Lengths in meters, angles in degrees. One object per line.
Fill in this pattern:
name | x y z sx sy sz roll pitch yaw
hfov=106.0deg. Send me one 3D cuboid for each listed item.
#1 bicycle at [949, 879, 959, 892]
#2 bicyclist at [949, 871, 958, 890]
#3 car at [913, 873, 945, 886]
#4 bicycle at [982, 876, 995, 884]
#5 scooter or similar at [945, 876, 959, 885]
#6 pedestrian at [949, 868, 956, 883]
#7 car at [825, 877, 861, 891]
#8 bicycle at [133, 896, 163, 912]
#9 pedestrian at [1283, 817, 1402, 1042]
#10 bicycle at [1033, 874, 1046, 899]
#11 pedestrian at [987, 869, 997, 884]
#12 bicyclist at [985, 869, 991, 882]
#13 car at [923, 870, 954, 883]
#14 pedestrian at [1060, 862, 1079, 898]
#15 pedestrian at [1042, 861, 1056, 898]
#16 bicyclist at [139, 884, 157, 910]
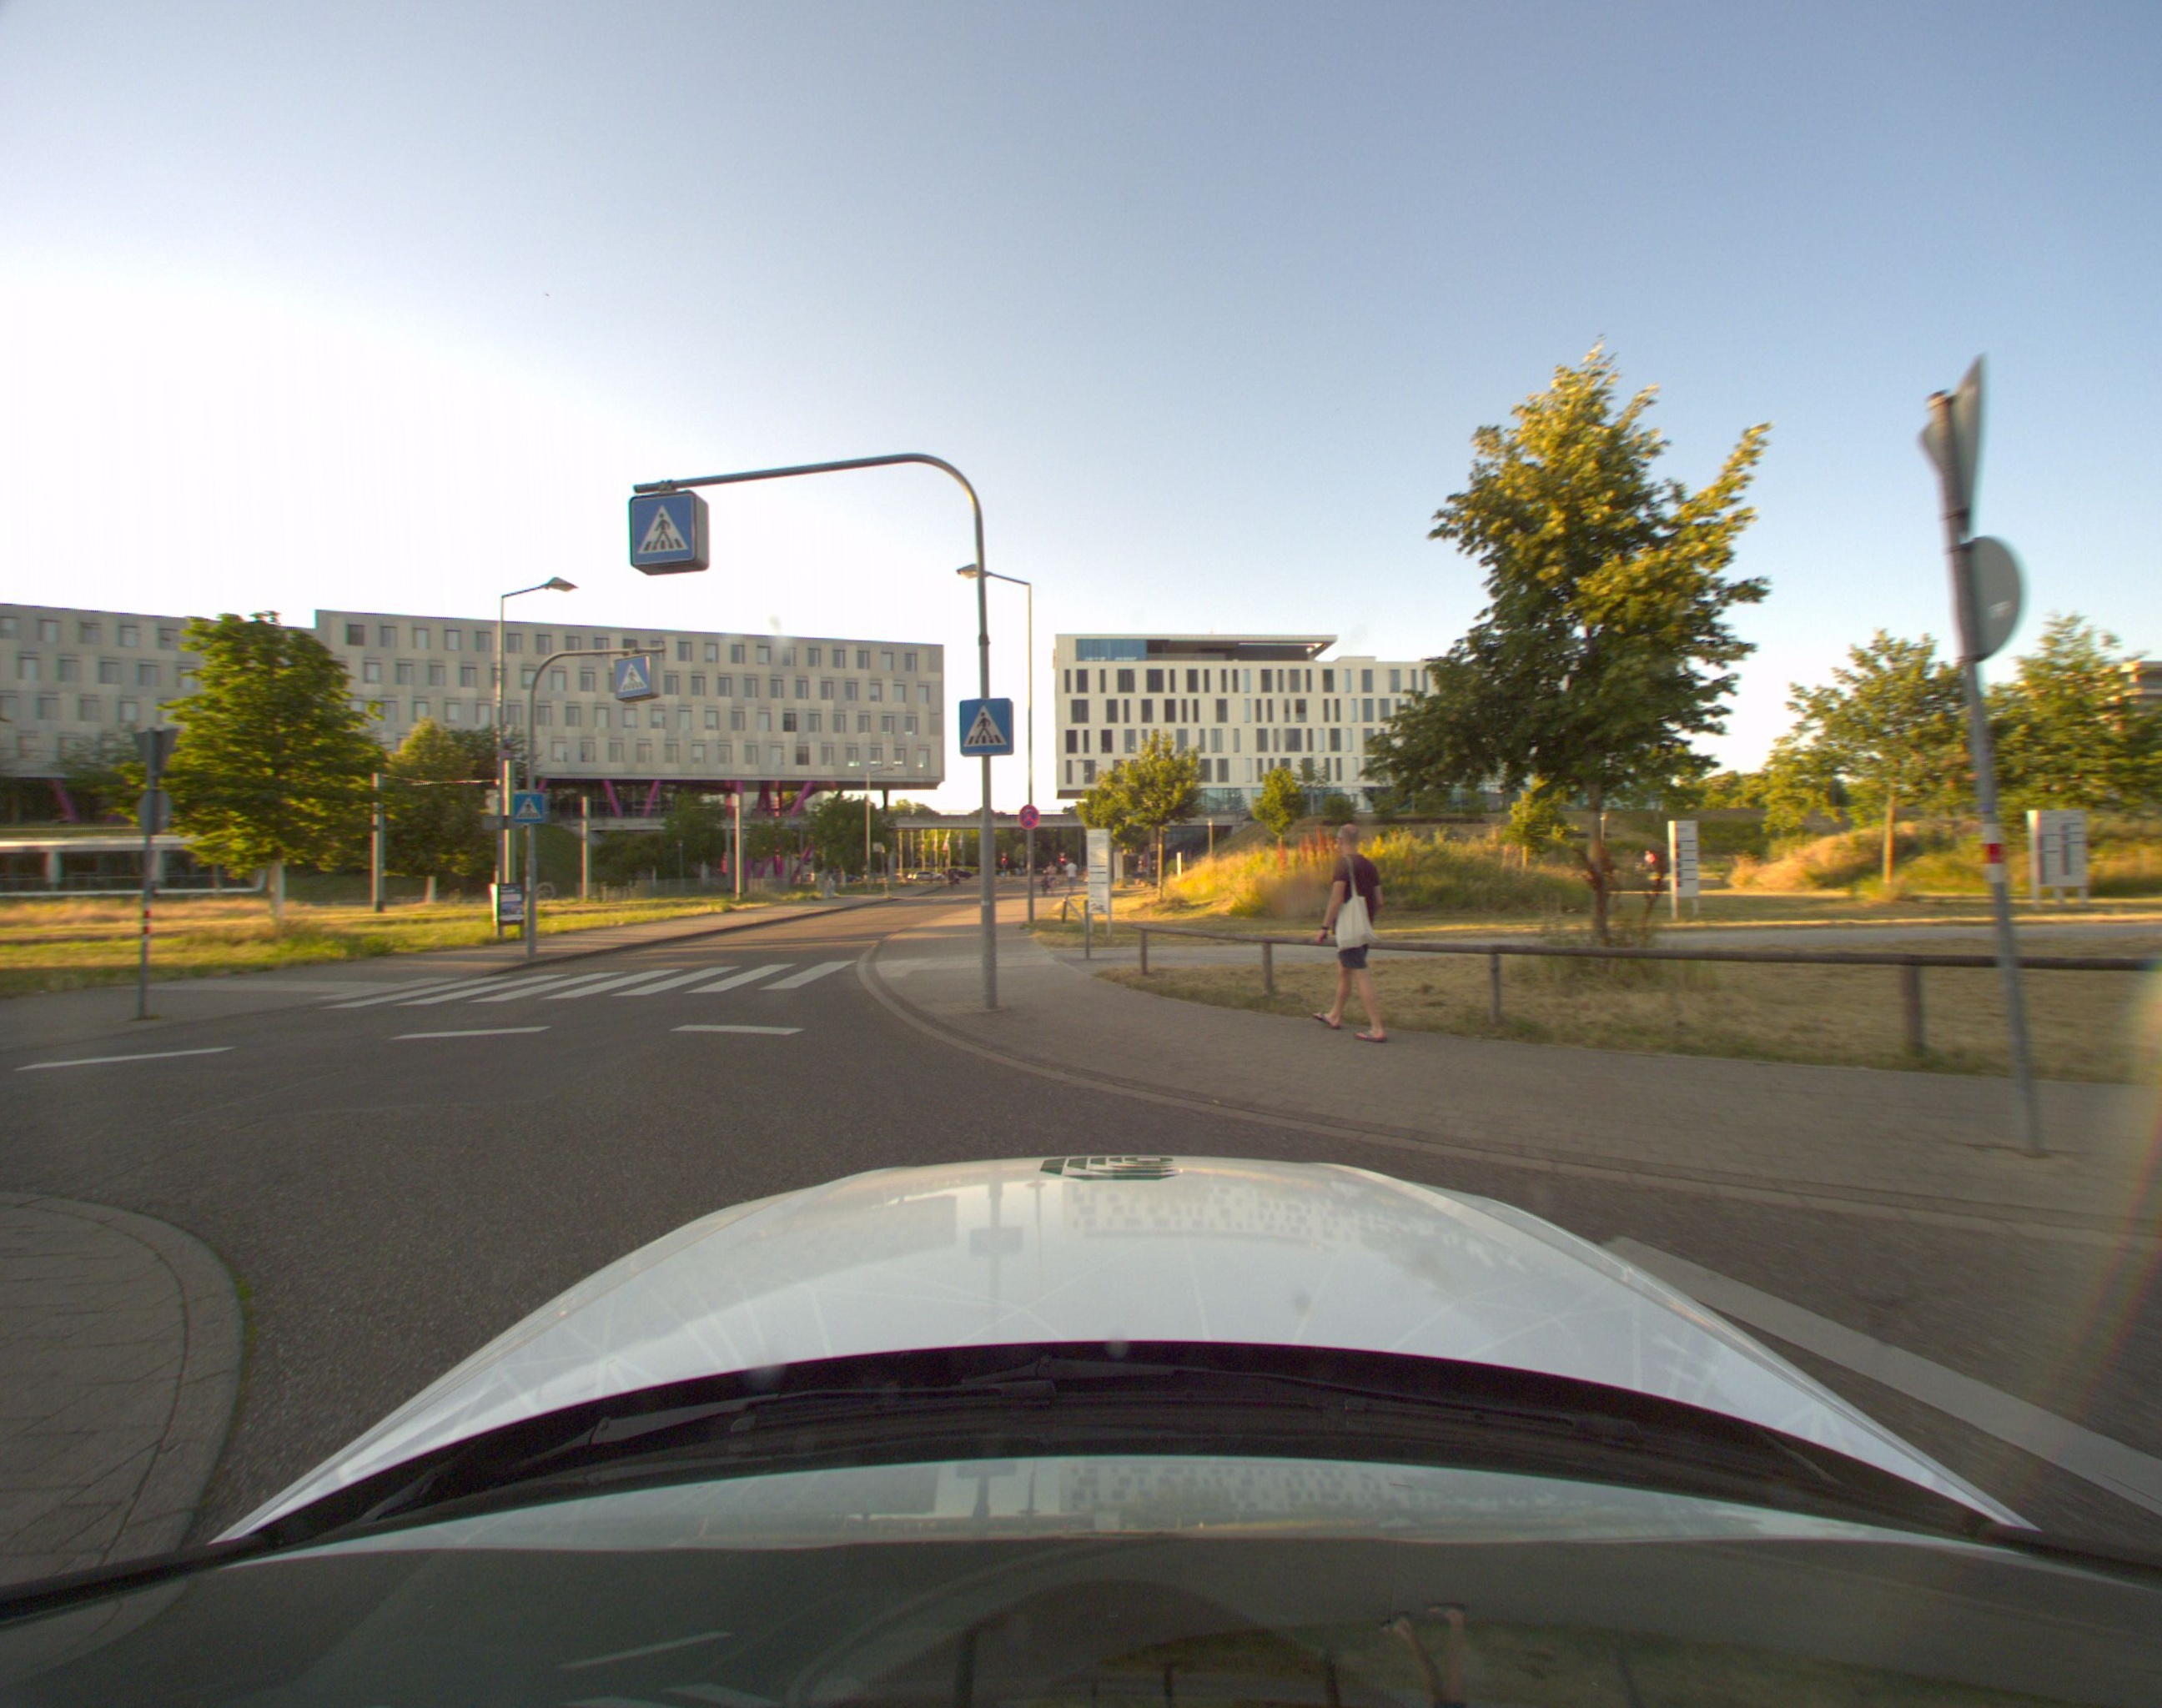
bicycle | -11.632 2.888 74.674 0.536 1.043 1.926 -1 0 2
bicyclist | -11.650 2.406 74.651 0.612 1.662 1.037 -1 0 2
car | -22.317 3.714 119.534 4.406 1.724 1.832 -1 0 -5
bicycle | -12.354 3.457 109.045 1.693 0.948 0.510 -1 0 -9
scooter or similar | -17.243 3.492 108.880 1.860 1.174 0.761 -1 0 -11
pedestrian | -17.206 2.904 108.905 0.909 1.990 0.768 -1 0 -11
car | -34.409 4.341 117.876 4.717 1.828 1.885 -1 0 -12
bicycle | -54.986 2.926 48.009 1.228 0.900 0.431 -1 0 -2
pedestrian | 2.193 0.603 6.913 0.729 1.784 0.802 -1 0 0
bicycle | -2.071 1.587 40.696 0.448 1.168 1.943 -1 0 4
pedestrian | -11.581 2.935 105.992 1.056 1.834 0.890 -1 0 -16
bicyclist | -12.414 2.858 109.036 0.765 1.704 0.511 -1 0 -7
car | -21.913 3.494 125.589 4.402 1.799 1.833 -1 0 -2
pedestrian | -0.558 1.272 40.811 0.827 1.766 0.819 -1 0 4
pedestrian | -1.584 1.253 40.547 0.592 1.802 0.819 -1 0 5
bicyclist | -55.010 2.513 48.010 0.511 1.495 0.424 -1 0 -1
